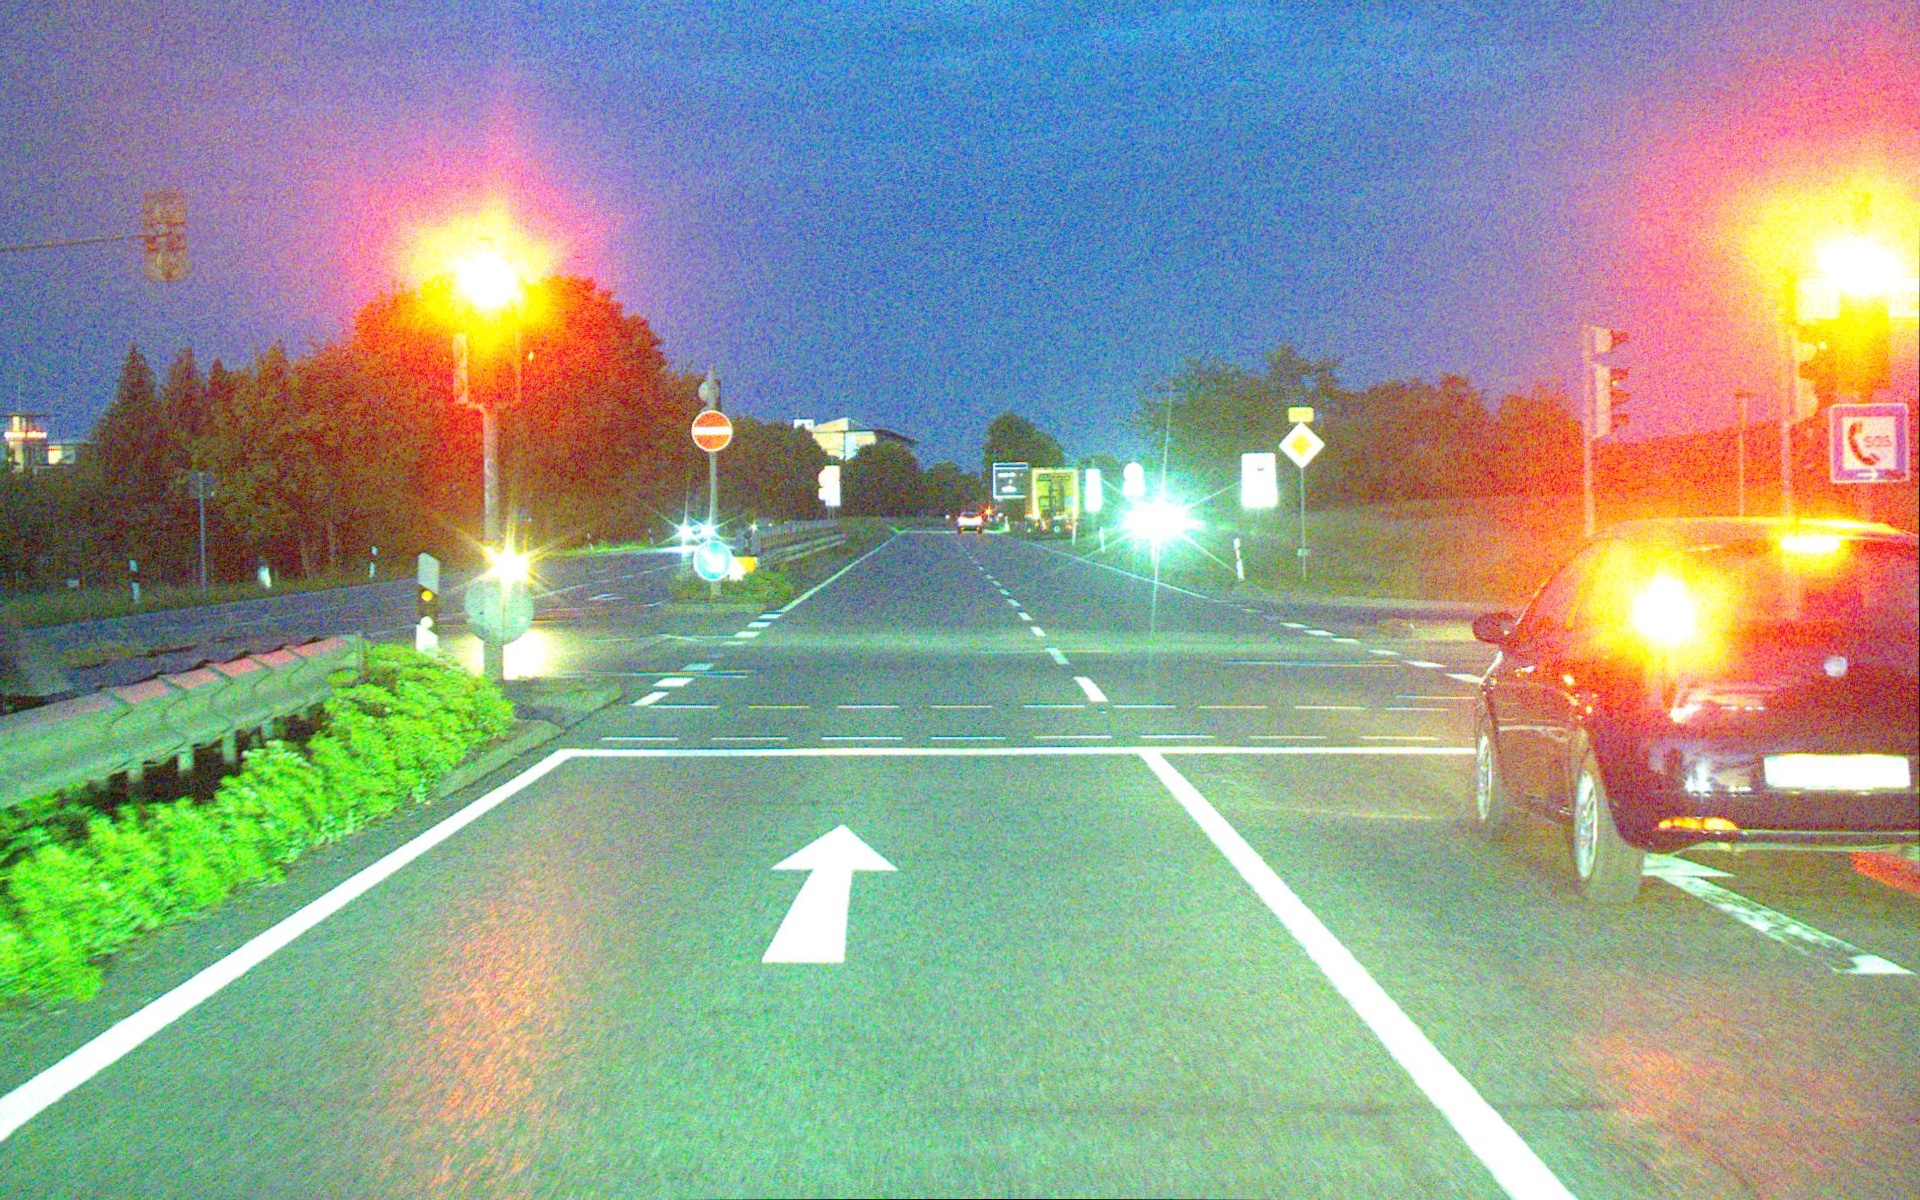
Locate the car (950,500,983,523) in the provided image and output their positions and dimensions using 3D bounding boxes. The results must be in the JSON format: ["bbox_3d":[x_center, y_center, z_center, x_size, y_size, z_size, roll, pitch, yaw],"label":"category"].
[{"bbox_3d":[0.484,-6.560,255.379,2.273,1.626,4.001,-1,2,-1],"label":"car"}]

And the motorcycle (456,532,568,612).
[{"bbox_3d":[-6.513,-0.420,49.843,0.979,1.095,2.509,-2,2,-22],"label":"motorcycle"}]

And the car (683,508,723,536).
[{"bbox_3d":[-14.339,-4.363,192.029,1.993,1.514,4.298,-1,2,-1],"label":"car"}]

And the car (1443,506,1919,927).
[{"bbox_3d":[3.143,0.367,14.456,1.670,1.515,4.106,0,2,1],"label":"car"}]

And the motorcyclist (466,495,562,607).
[{"bbox_3d":[-6.451,-0.718,49.662,1.137,1.579,0.973,-2,2,-21],"label":"motorcyclist"}]
